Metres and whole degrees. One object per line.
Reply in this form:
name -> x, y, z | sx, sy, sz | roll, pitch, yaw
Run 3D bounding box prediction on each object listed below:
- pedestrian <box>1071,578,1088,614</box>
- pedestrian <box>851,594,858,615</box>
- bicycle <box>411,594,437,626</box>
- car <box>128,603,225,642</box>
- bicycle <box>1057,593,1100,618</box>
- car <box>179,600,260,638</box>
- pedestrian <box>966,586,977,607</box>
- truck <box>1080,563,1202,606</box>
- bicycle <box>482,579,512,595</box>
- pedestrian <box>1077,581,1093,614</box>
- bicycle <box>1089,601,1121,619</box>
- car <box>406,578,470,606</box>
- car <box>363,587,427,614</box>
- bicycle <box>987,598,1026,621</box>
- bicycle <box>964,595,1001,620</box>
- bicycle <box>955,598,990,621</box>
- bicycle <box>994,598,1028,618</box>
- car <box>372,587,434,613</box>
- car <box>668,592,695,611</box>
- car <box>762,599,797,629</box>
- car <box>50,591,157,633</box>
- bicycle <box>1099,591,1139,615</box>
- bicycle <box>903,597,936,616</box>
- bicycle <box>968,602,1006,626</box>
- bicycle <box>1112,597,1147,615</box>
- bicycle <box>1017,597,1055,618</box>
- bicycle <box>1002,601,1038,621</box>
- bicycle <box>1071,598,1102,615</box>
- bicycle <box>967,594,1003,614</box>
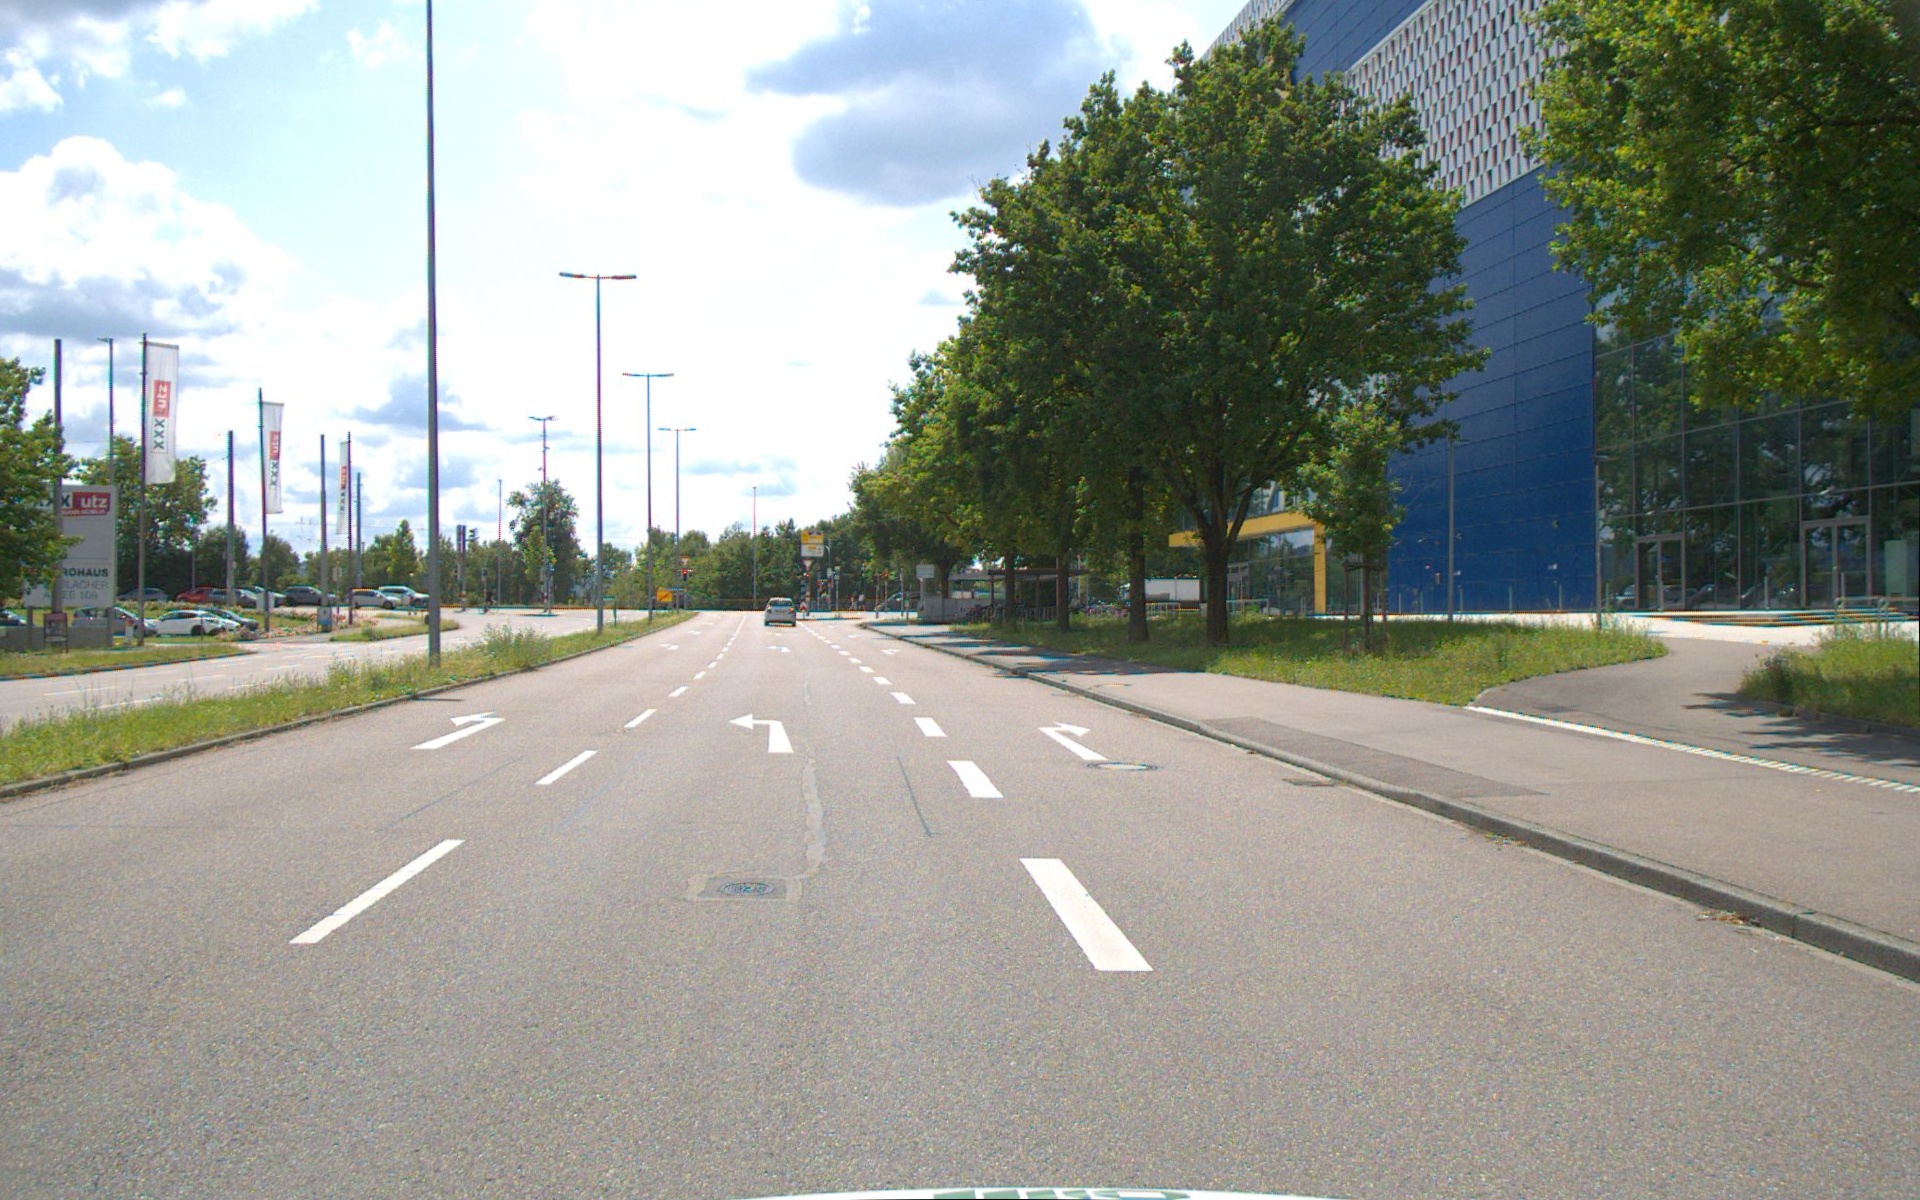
pedestrian -> 5.787, -0.191, 79.885 | 0.621, 1.752, 0.524 | -2, -1, 29
pedestrian -> -8.945, 0.401, 140.081 | 0.512, 1.751, 0.730 | -1, 0, -4
bicycle -> -30.133, 0.554, 93.037 | 0.998, 1.704, 2.045 | -1, 0, -7
car -> -42.251, 1.198, 89.268 | 4.267, 2.024, 1.996 | -1, 0, -8
bicycle -> 5.678, 0.265, 79.430 | 1.971, 1.127, 0.576 | -2, 0, 31
car -> -41.879, 1.049, 93.619 | 3.925, 2.049, 1.990 | -1, 0, -18
pedestrian -> 1.040, -0.334, 147.918 | 0.909, 1.839, 0.735 | 0, 0, -8
truck -> 17.974, -1.545, 164.684 | 11.731, 4.176, 2.948 | 0, 0, -7
bicycle -> -33.639, -0.943, 120.115 | 1.979, 1.016, 0.621 | 2, -1, -8
pedestrian -> 8.126, -0.145, 107.847 | 0.986, 2.109, 0.974 | -1, -2, 7
bicycle -> 8.522, 0.589, 97.281 | 1.829, 1.012, 0.463 | -1, 0, -12
car -> -39.146, -0.572, 124.021 | 4.267, 2.024, 1.996 | -1, 0, -8
car -> -43.361, 0.032, 126.988 | 4.267, 2.024, 1.996 | -1, 0, -8
bicycle -> 2.247, 0.462, 79.919 | 1.829, 1.012, 0.422 | -2, 0, -12
bicycle -> 1.166, 0.389, 85.974 | 1.829, 1.208, 0.422 | -2, 0, -12
bicycle -> 0.683, 0.526, 90.878 | 1.829, 1.208, 0.422 | -1, 0, -12
bicycle -> 2.780, 0.422, 90.061 | 1.826, 1.052, 0.423 | -1, 0, -6
car -> -43.732, 0.000, 130.009 | 4.267, 2.024, 1.996 | -1, 0, -8
car -> -23.423, 0.130, 138.950 | 1.863, 1.495, 3.818 | 1, 1, -15
car -> -9.883, 0.750, 90.548 | 1.858, 1.495, 3.828 | 1, 1, -7
car -> -42.446, 0.576, 82.043 | 4.267, 2.024, 1.996 | -1, 0, -8
bicycle -> 8.702, 0.151, 90.430 | 2.095, 1.251, 0.721 | -2, 0, 2
bicycle -> -2.292, 0.362, 93.602 | 1.829, 1.012, 0.422 | -2, -1, -12
bicycle -> 1.379, 0.703, 83.758 | 1.859, 1.190, 0.423 | -2, 0, -6
bicycle -> 9.134, 0.308, 89.315 | 1.826, 0.897, 0.470 | -1, 0, -7
bicycle -> 3.880, 0.382, 84.275 | 1.829, 1.012, 0.422 | -2, -1, -12
bicycle -> 3.155, 0.603, 87.525 | 1.829, 1.012, 0.422 | -1, -1, -12
bicycle -> 7.643, 0.383, 99.880 | 1.826, 1.012, 0.423 | -1, 0, -6
bicycle -> 1.305, 0.220, 87.466 | 1.829, 1.012, 0.422 | -2, 0, -12
